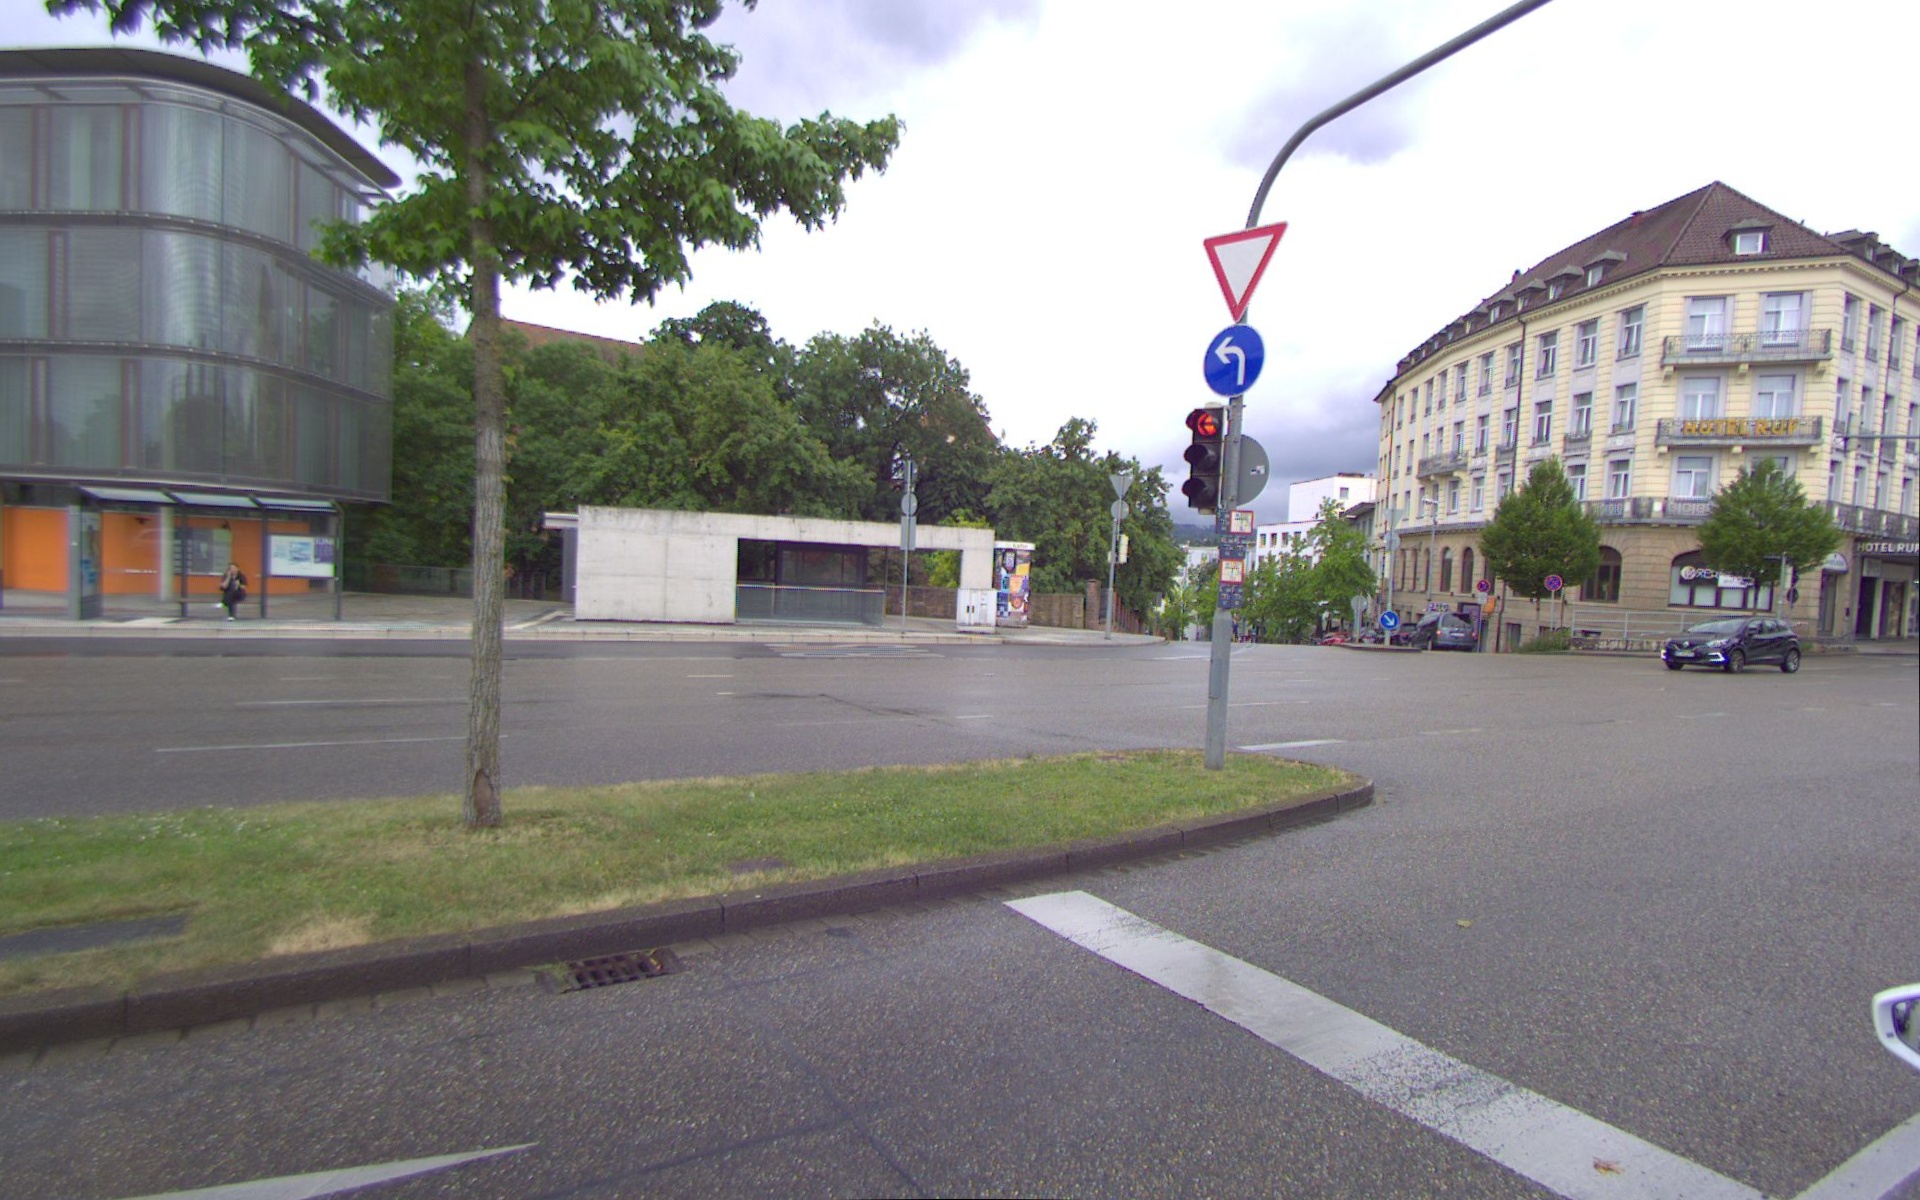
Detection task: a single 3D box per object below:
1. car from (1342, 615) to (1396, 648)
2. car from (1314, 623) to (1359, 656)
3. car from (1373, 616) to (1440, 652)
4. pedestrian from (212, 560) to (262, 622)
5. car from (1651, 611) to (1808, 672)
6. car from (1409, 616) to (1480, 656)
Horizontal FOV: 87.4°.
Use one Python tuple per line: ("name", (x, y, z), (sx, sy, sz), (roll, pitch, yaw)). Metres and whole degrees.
("car", (23.153, 1.772, 56.991), (1.757, 1.662, 3.916), (2, 1, 6))
("car", (23.577, 2.476, 63.046), (1.741, 1.836, 3.624), (2, 1, 7))
("car", (22.898, 1.717, 51.693), (1.959, 1.662, 4.002), (2, 0, 6))
("pedestrian", (-16.095, -0.195, 22.380), (0.780, 1.341, 0.798), (1, 1, -28))
("car", (21.780, 1.163, 28.429), (4.021, 1.551, 1.767), (1, 1, -24))
("car", (21.725, 1.576, 45.186), (1.764, 1.589, 4.002), (2, 1, 9))
